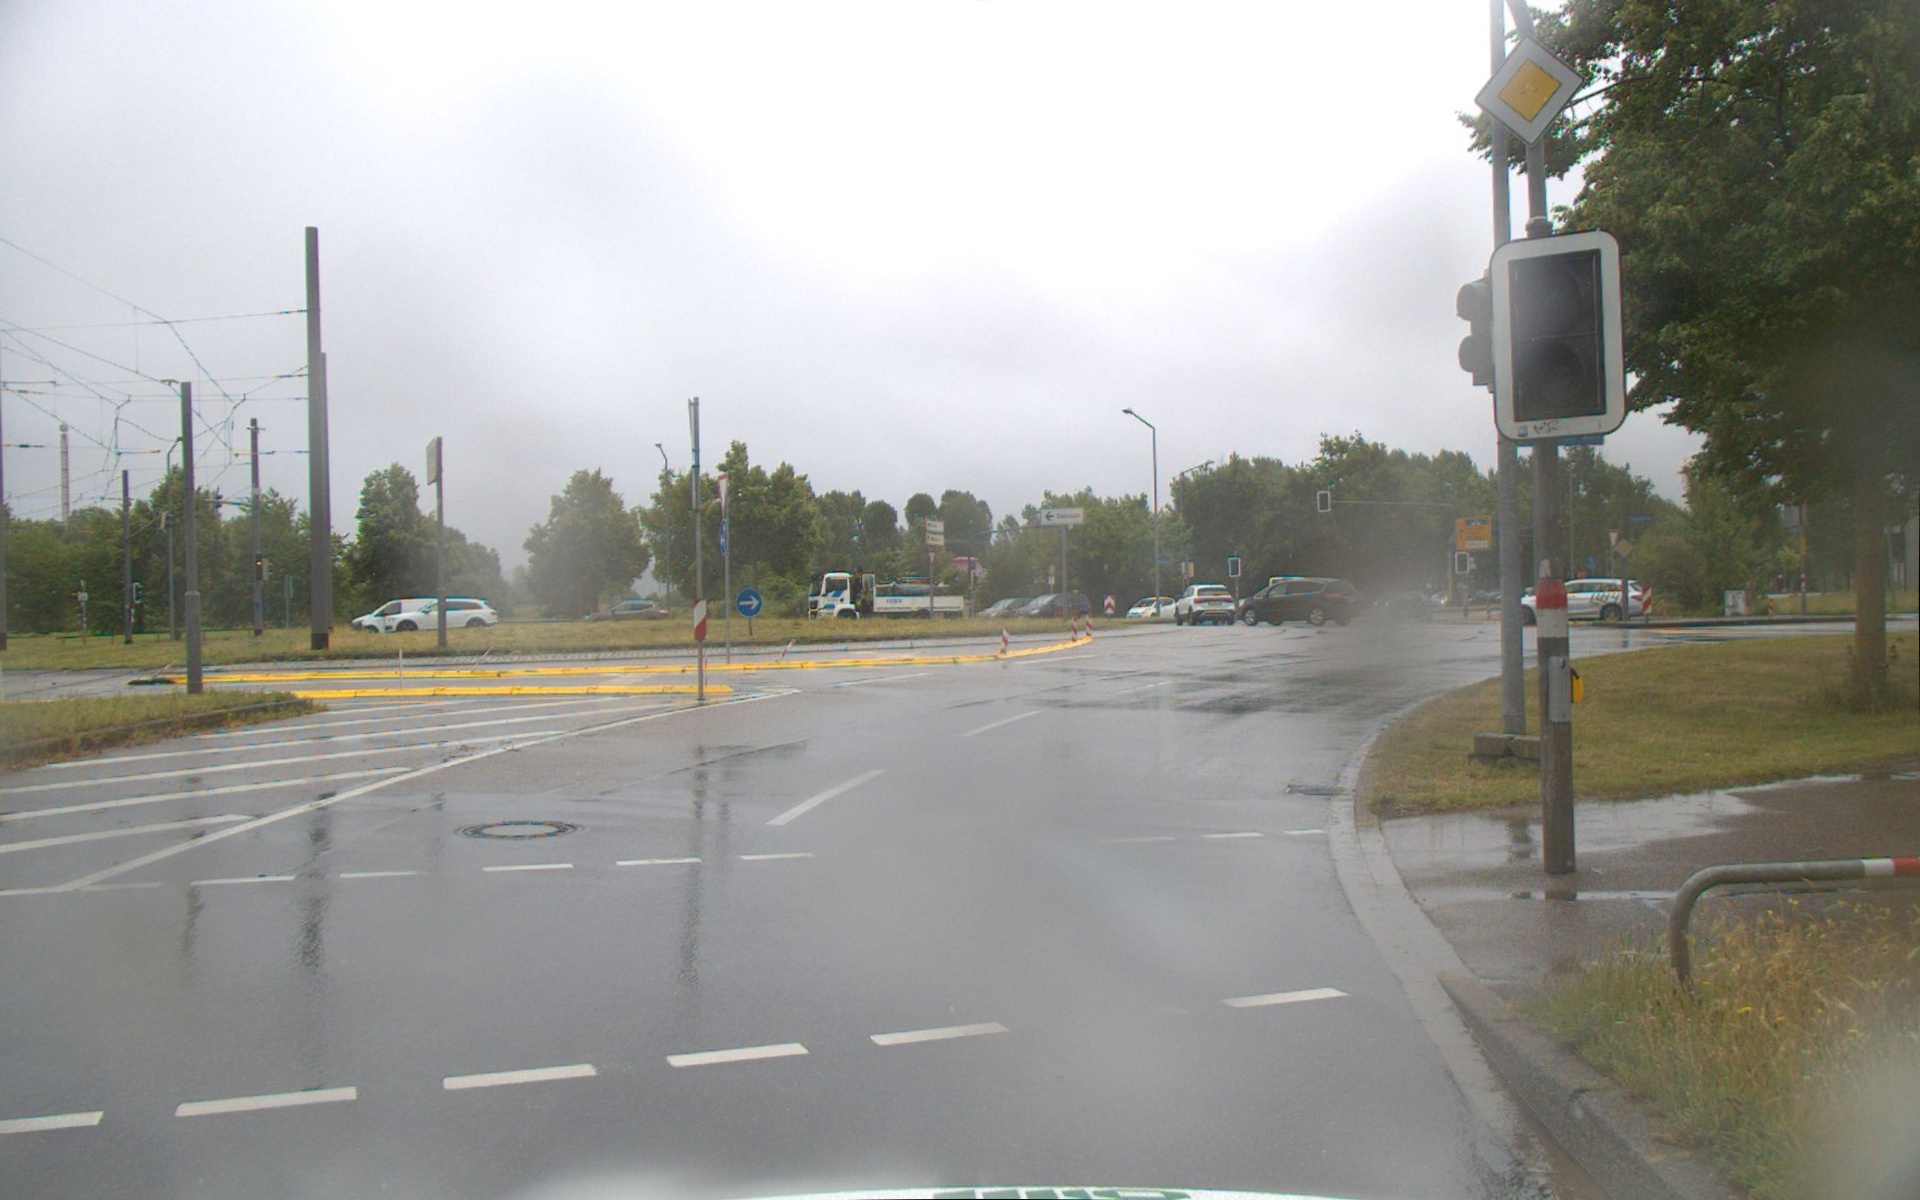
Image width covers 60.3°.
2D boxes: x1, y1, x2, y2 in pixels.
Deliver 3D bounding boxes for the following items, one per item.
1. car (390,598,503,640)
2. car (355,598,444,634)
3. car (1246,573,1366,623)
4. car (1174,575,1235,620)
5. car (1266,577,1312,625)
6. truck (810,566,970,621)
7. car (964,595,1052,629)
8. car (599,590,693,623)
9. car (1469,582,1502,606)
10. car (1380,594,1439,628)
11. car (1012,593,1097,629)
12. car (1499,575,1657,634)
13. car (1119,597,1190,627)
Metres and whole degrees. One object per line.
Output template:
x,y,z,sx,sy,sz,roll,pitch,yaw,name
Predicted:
-23.013,0.848,74.296,4.770,1.774,1.771,1,0,-15,car
-26.389,0.743,77.823,3.794,1.649,1.531,1,0,-26,car
12.250,-0.076,58.710,1.772,1.676,3.943,1,0,-40,car
9.662,-0.091,65.650,1.647,1.676,3.945,1,0,-3,car
14.640,0.067,73.451,1.745,2.072,4.003,1,0,15,car
-3.730,-0.307,89.202,8.671,2.759,1.981,1,0,-29,truck
2.590,0.646,88.808,4.821,1.774,1.752,1,0,-41,car
-15.398,0.329,81.113,4.458,1.518,1.605,1,0,-15,car
45.971,-0.525,144.670,1.758,2.049,3.659,1,0,36,car
21.500,0.509,79.019,1.661,1.518,3.238,-1,0,37,car
4.902,0.562,85.219,1.747,1.774,4.835,1,0,43,car
20.327,0.124,54.443,4.727,1.842,1.787,1,0,26,car
11.998,0.752,101.771,4.830,1.774,1.749,1,-1,-45,car
